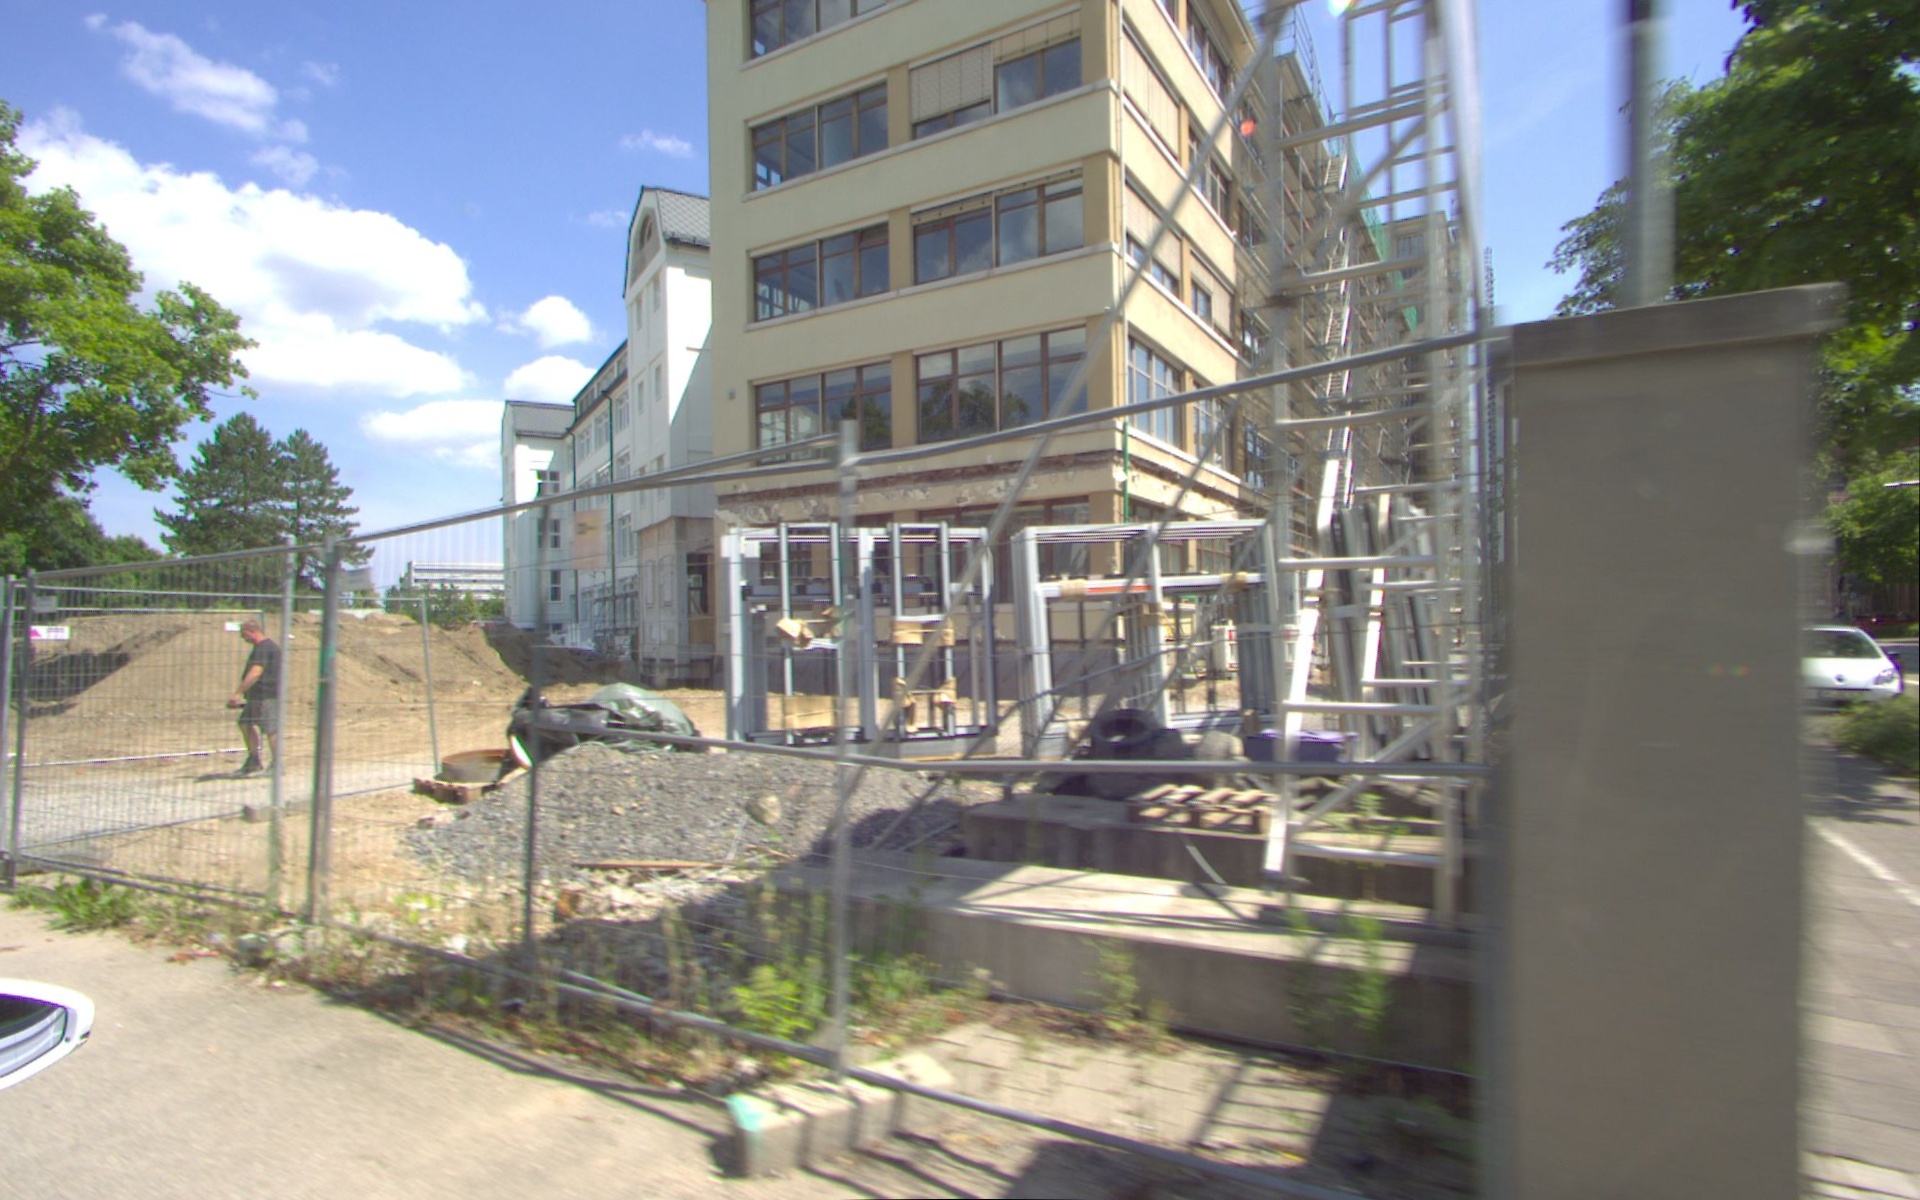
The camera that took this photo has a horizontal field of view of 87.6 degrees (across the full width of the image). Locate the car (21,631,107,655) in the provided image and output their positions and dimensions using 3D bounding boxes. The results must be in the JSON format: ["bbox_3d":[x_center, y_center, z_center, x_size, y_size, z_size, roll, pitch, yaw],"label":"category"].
[{"bbox_3d":[-65.558,3.132,73.364,4.459,1.618,1.715,1,-1,-33],"label":"car"}]

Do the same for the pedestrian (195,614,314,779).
[{"bbox_3d":[-8.295,1.089,11.780,0.860,1.843,0.960,-1,-1,40],"label":"pedestrian"}]

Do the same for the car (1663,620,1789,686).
[{"bbox_3d":[20.488,1.352,26.961,1.968,1.628,3.986,0,-1,27],"label":"car"}]

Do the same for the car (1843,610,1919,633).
[{"bbox_3d":[62.275,1.416,67.327,3.923,1.505,2.000,0,-1,9],"label":"car"}]

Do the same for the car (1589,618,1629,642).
[{"bbox_3d":[42.014,1.925,64.915,1.970,1.505,4.318,-1,-1,30],"label":"car"}]

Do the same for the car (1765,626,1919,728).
[{"bbox_3d":[14.431,1.176,16.416,1.600,1.458,3.563,-1,-1,34],"label":"car"}]

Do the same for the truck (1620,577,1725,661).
[{"bbox_3d":[23.488,0.650,33.244,1.995,2.517,5.851,-1,-1,27],"label":"truck"}]
